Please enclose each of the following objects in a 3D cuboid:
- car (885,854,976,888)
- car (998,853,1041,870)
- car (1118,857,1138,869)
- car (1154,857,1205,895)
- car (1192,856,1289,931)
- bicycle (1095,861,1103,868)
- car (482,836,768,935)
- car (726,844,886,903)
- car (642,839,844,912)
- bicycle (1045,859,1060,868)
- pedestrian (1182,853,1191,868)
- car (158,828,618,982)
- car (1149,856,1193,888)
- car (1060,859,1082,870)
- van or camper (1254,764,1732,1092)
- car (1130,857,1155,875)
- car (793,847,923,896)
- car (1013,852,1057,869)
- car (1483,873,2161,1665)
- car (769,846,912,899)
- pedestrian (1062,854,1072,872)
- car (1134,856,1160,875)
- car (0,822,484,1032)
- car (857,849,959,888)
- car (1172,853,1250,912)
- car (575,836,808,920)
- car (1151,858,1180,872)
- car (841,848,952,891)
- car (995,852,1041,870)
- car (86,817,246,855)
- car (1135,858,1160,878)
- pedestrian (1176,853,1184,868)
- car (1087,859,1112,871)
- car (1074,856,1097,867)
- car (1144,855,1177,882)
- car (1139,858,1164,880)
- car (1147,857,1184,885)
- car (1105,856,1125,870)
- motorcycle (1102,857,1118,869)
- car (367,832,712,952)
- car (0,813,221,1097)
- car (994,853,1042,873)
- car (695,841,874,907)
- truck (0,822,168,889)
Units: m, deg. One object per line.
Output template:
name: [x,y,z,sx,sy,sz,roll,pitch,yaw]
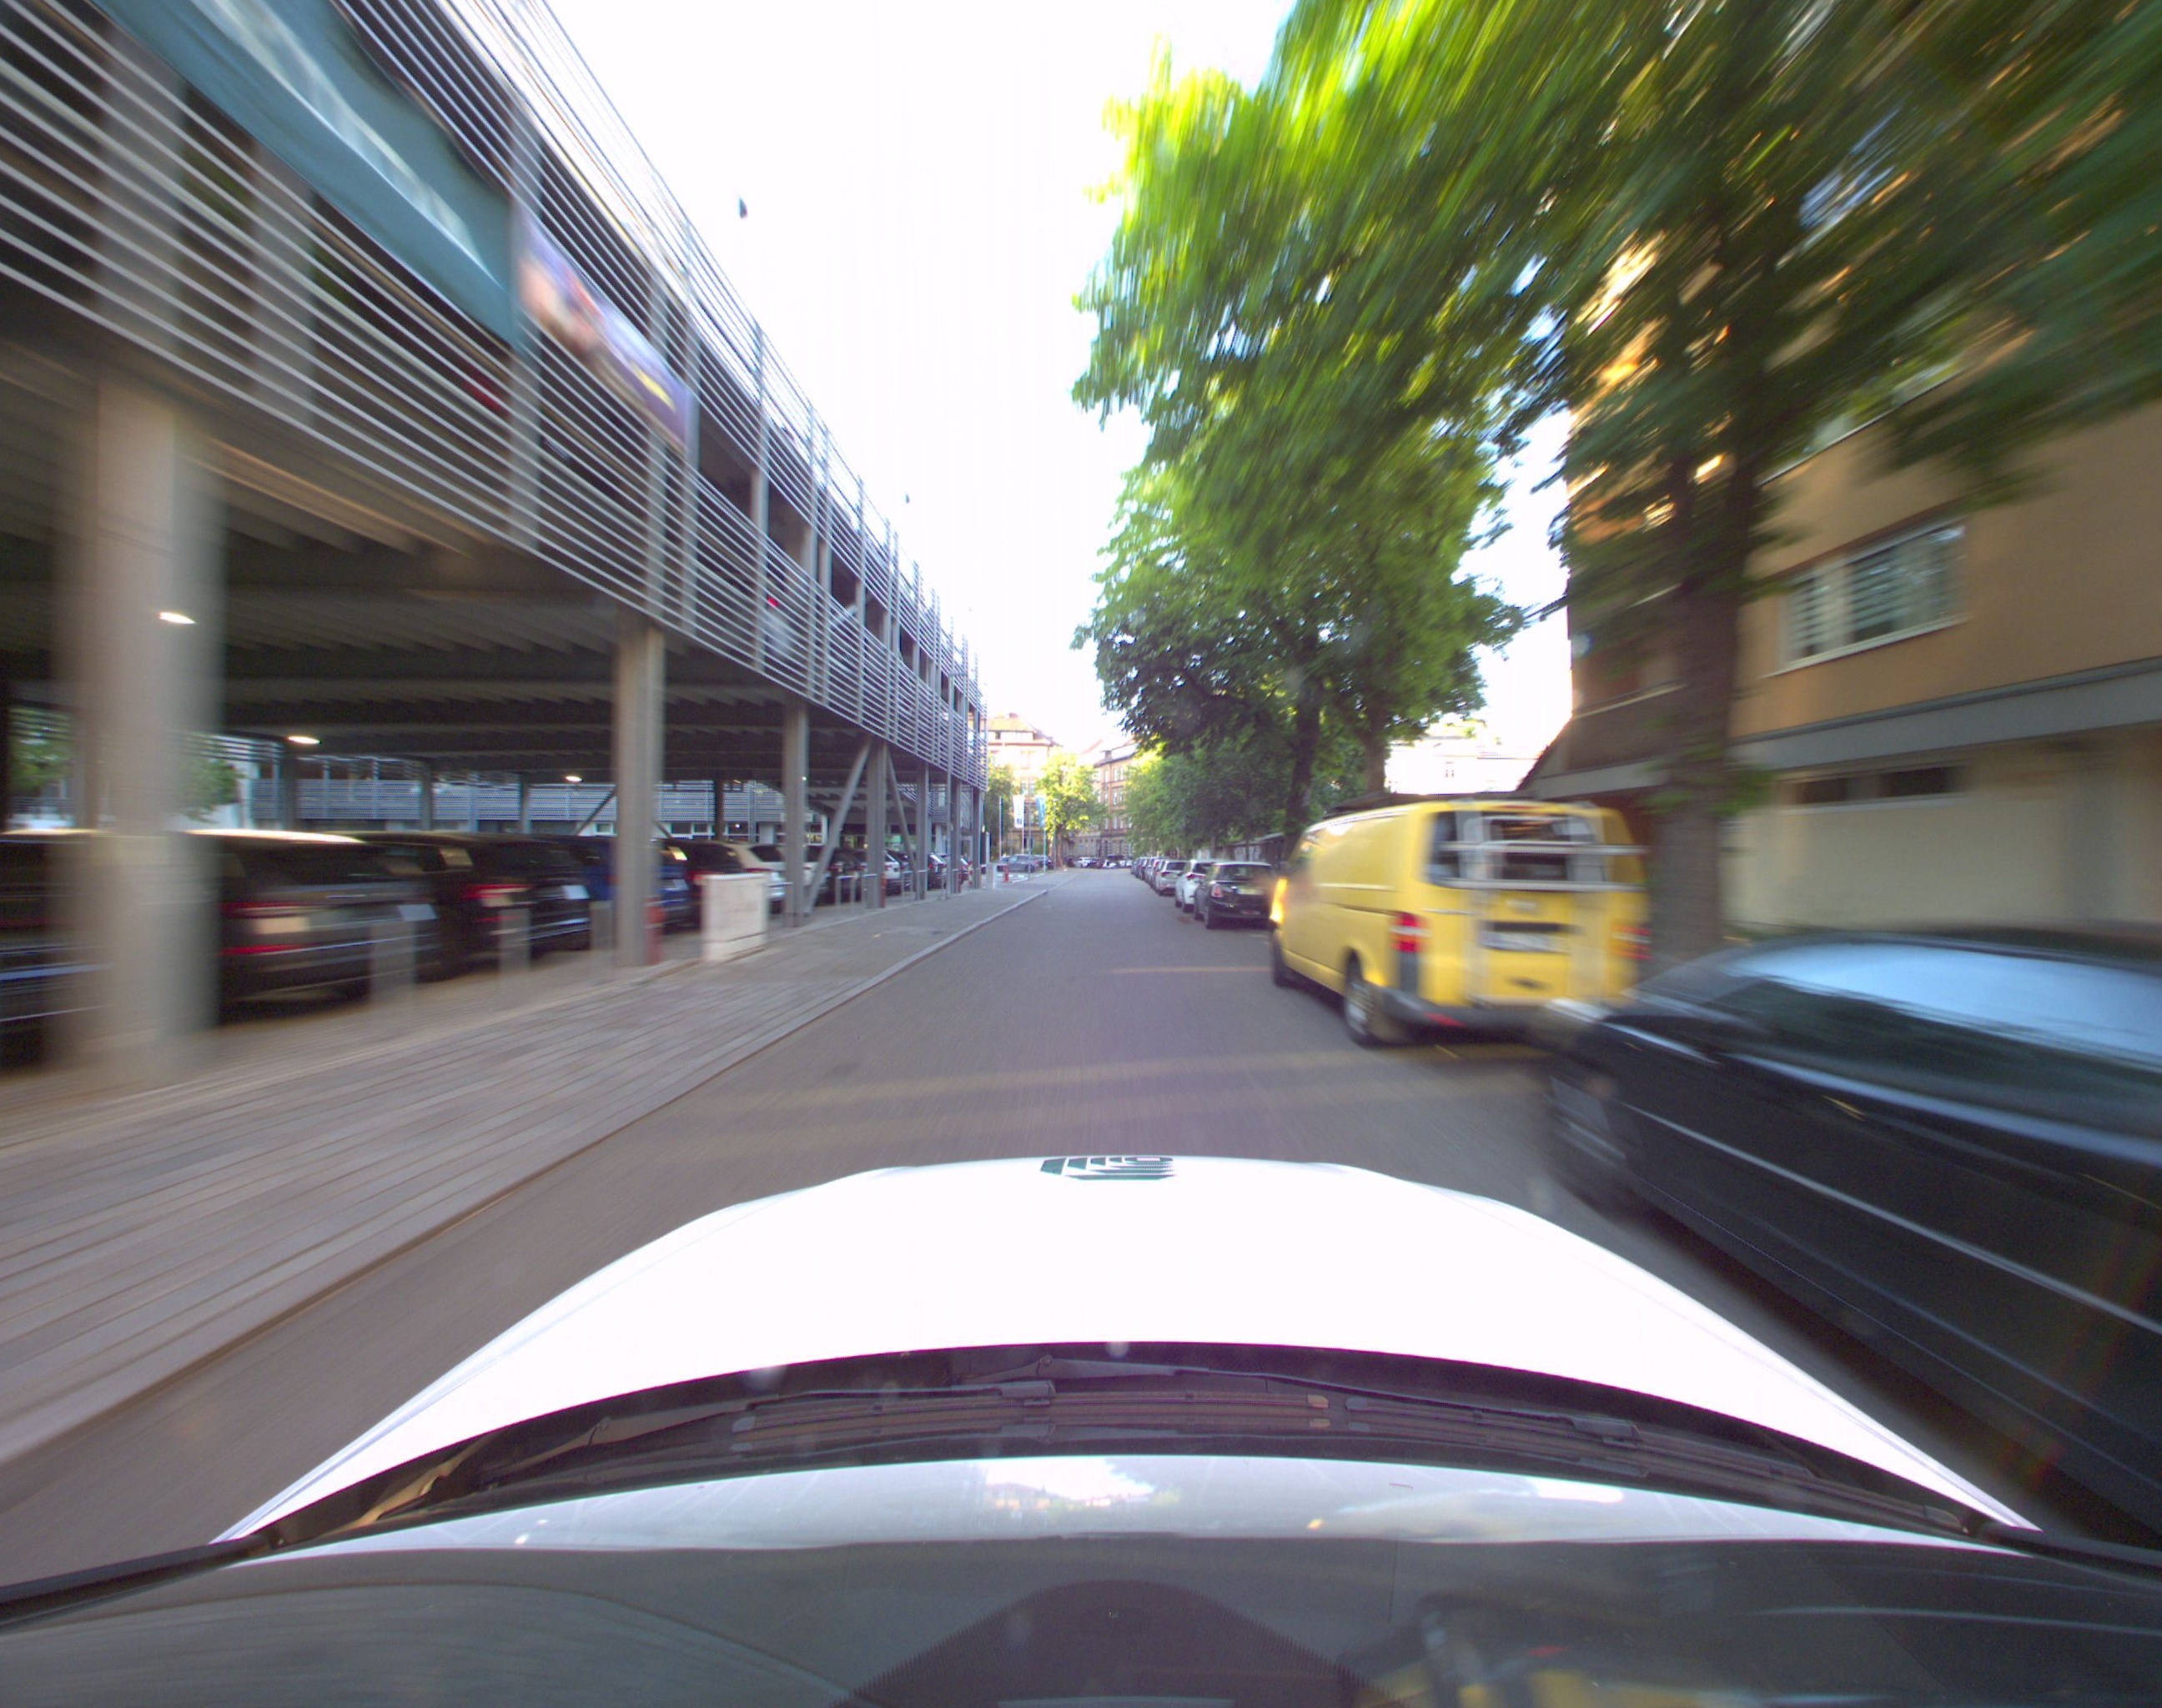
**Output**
car: [-7.094,0.804,38.664,3.974,1.586,1.859,0,-2,0]
car: [-5.988,0.759,79.668,4.035,1.475,1.919,2,1,-2]
car: [6.205,1.231,107.311,1.681,1.525,2.746,1,0,-22]
car: [4.038,0.858,33.844,1.752,1.442,4.007,0,1,2]
car: [3.417,0.795,17.983,1.557,1.450,3.455,0,1,1]
bicycle: [2.096,1.279,96.914,0.421,0.822,1.470,0,1,24]
car: [-8.137,0.528,14.804,4.132,1.684,1.861,0,0,2]
car: [-8.124,0.541,24.277,4.086,1.684,1.861,0,0,2]
car: [-8.062,0.489,19.659,4.067,1.684,1.861,0,0,2]
bicycle: [-3.238,1.066,93.721,1.678,1.028,0.442,0,0,-23]
pedestrian: [12.859,0.837,99.310,0.774,1.804,0.839,0,0,-13]
car: [-8.165,0.550,9.874,4.019,1.684,1.861,0,0,2]
car: [4.216,0.812,38.745,1.752,1.454,4.394,0,0,2]
car: [-1.391,1.436,111.299,1.661,1.431,3.867,1,1,-22]
van or camper: [3.177,0.446,7.756,2.057,2.096,5.091,0,1,1]
car: [5.300,1.013,70.633,1.691,1.477,4.208,0,0,-3]
car: [-7.857,0.583,28.912,4.048,1.684,1.861,0,0,2]
car: [-5.157,0.738,91.135,4.820,1.732,1.918,1,1,-5]
car: [2.881,0.818,2.431,1.600,1.381,4.004,0,1,3]
car: [-7.833,0.574,26.765,4.086,1.684,1.861,0,0,2]
pedestrian: [-1.487,0.945,85.124,0.737,1.804,1.115,0,0,-18]
car: [5.350,0.899,66.223,1.690,1.477,3.557,0,0,-2]
car: [-8.260,0.575,7.519,4.149,1.684,1.861,0,0,2]
car: [-7.601,0.632,36.049,4.063,1.684,1.861,0,0,2]
car: [3.633,0.751,23.400,1.716,1.519,4.027,0,1,1]
car: [-8.104,0.471,17.216,4.009,1.684,1.861,0,0,2]
car: [10.229,1.274,98.696,1.922,1.525,3.867,1,1,-22]
car: [-7.559,0.616,33.617,4.070,1.684,1.861,0,0,2]
car: [-5.810,0.667,75.585,4.054,1.618,1.765,0,1,-1]
car: [-41.275,-0.758,36.938,2.290,1.574,4.385,0,0,-2]
car: [5.019,1.009,61.770,1.688,1.477,4.119,0,0,2]
pedestrian: [12.358,0.814,101.572,0.843,1.804,0.771,0,0,-19]
car: [2.281,1.379,102.307,1.661,1.431,3.961,1,1,-22]
car: [0.511,0.966,106.864,1.660,1.431,4.139,1,1,-20]
car: [4.820,0.850,49.683,1.752,1.604,3.875,0,0,2]
car: [4.911,1.022,57.041,1.591,1.477,3.775,0,0,2]
car: [4.594,0.908,44.674,1.752,1.441,3.875,0,1,2]
car: [4.580,1.190,110.812,1.681,1.782,2.992,1,0,-22]
motorcycle: [3.519,1.092,98.997,1.931,1.340,0.575,0,0,-9]
car: [-8.093,0.522,12.445,4.019,1.684,1.861,0,0,2]
car: [-8.407,0.601,5.149,4.026,1.684,1.861,0,0,2]
car: [-5.573,0.762,72.295,4.116,1.618,1.913,2,1,-1]
car: [-7.883,0.514,21.888,4.086,1.684,1.861,0,0,2]
truck: [-42.057,0.058,33.106,6.897,2.568,2.443,0,0,-2]
